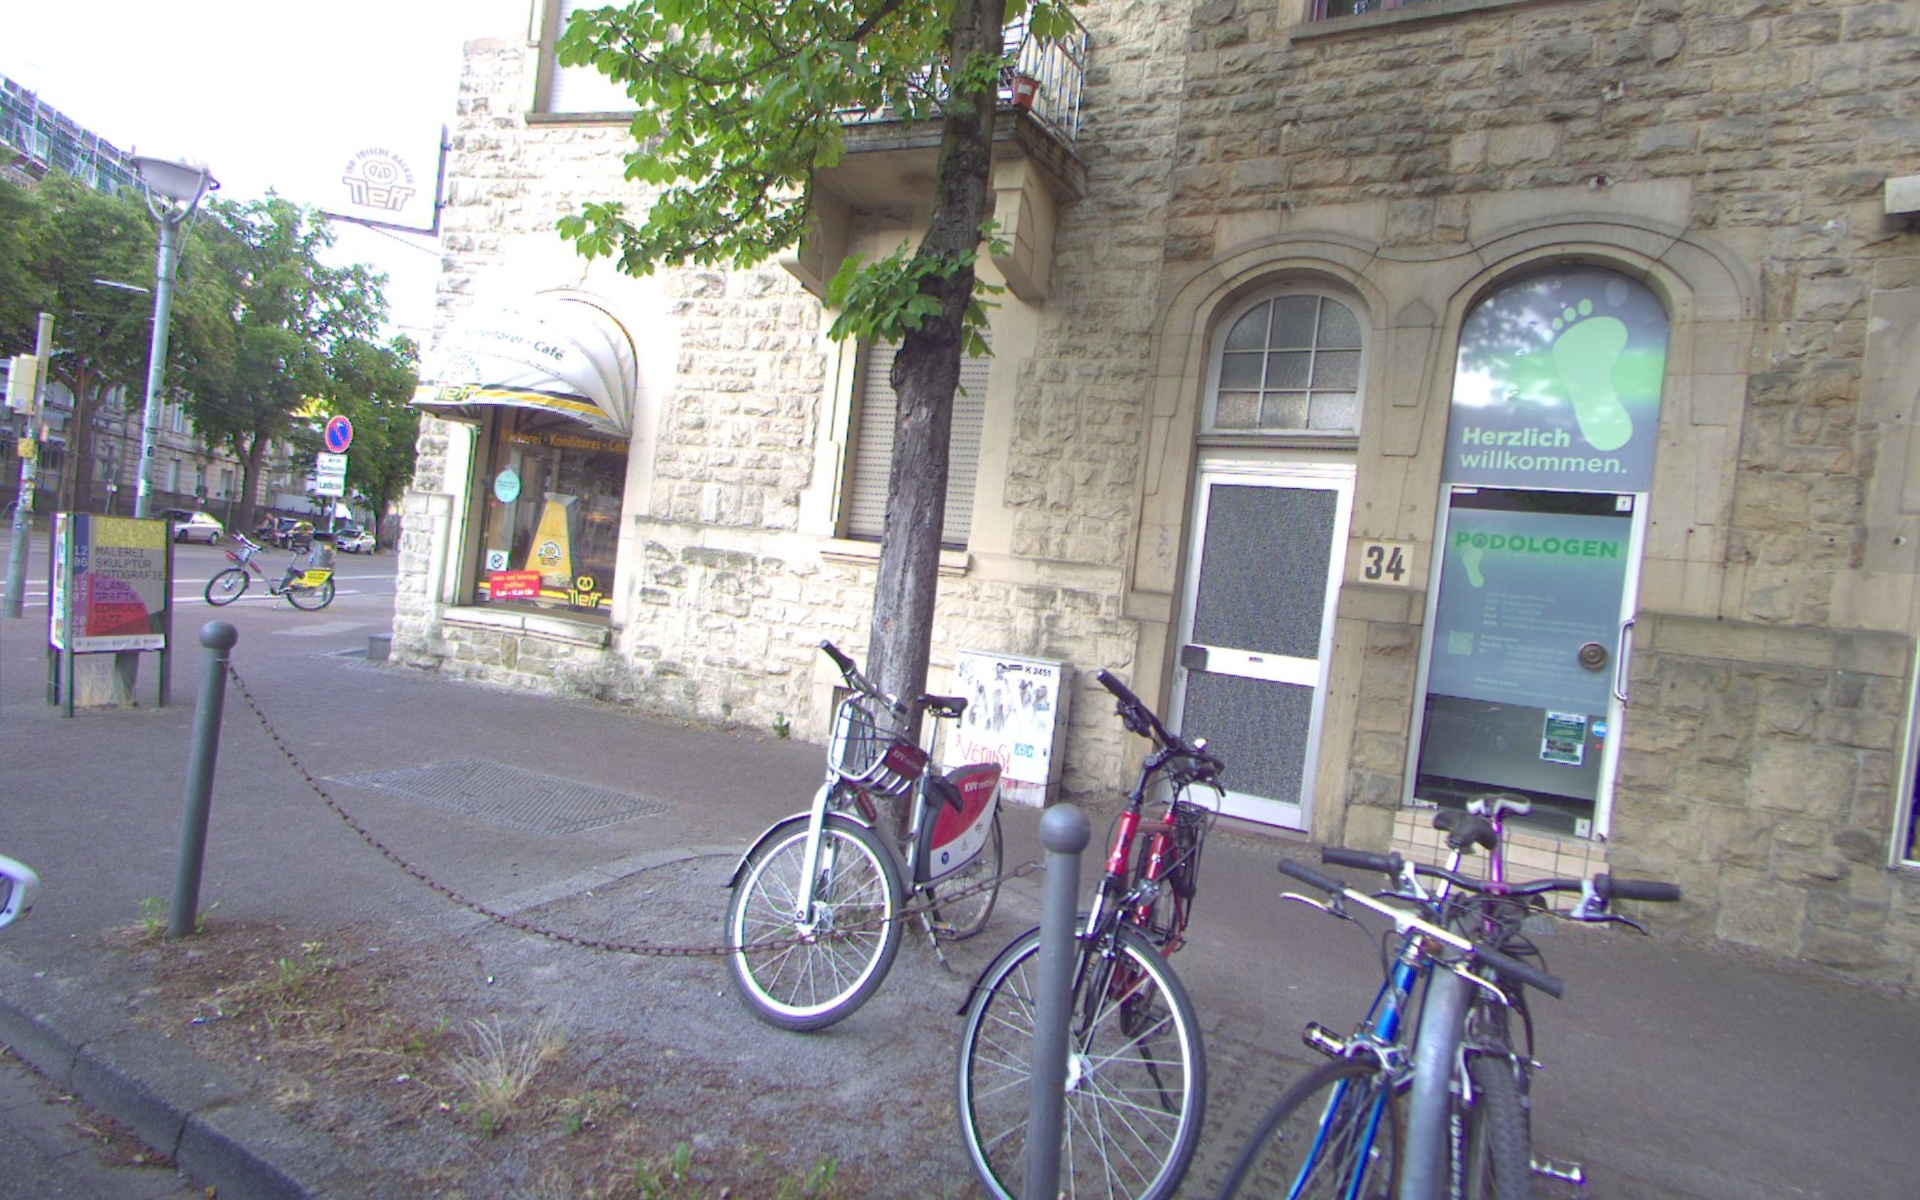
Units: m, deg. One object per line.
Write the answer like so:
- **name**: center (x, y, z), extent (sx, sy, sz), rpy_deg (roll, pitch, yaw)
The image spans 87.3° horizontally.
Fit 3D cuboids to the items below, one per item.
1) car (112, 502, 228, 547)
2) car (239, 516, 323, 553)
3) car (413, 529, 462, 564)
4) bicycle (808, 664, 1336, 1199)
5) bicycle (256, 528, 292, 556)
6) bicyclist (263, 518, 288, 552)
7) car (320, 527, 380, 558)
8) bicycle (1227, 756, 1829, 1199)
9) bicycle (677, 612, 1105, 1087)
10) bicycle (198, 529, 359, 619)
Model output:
- **car**: center (-34.198, -3.228, 43.718), extent (1.977, 1.444, 4.621), rpy_deg (7, 0, -12)
- **car**: center (-36.223, -3.485, 53.798), extent (1.917, 1.501, 4.162), rpy_deg (7, 0, -8)
- **car**: center (-41.792, -4.251, 80.572), extent (1.918, 2.344, 4.623), rpy_deg (7, 0, -10)
- **bicycle**: center (0.456, 0.845, 2.711), extent (0.687, 1.252, 1.790), rpy_deg (7, 0, 28)
- **bicycle**: center (-31.476, -2.648, 46.209), extent (0.545, 1.162, 1.606), rpy_deg (6, 0, -5)
- **bicyclist**: center (-31.445, -2.971, 46.205), extent (0.545, 1.446, 0.735), rpy_deg (6, 1, -5)
- **car**: center (-37.982, -3.551, 62.763), extent (1.920, 1.500, 4.307), rpy_deg (7, 0, -14)
- **bicycle**: center (1.149, 0.996, 2.233), extent (0.687, 1.051, 1.804), rpy_deg (7, 0, 28)
- **bicycle**: center (-0.119, 0.746, 3.724), extent (0.639, 1.252, 1.791), rpy_deg (7, 0, 26)
- **bicycle**: center (-10.480, -0.383, 15.510), extent (0.721, 1.144, 1.868), rpy_deg (7, 0, 42)
